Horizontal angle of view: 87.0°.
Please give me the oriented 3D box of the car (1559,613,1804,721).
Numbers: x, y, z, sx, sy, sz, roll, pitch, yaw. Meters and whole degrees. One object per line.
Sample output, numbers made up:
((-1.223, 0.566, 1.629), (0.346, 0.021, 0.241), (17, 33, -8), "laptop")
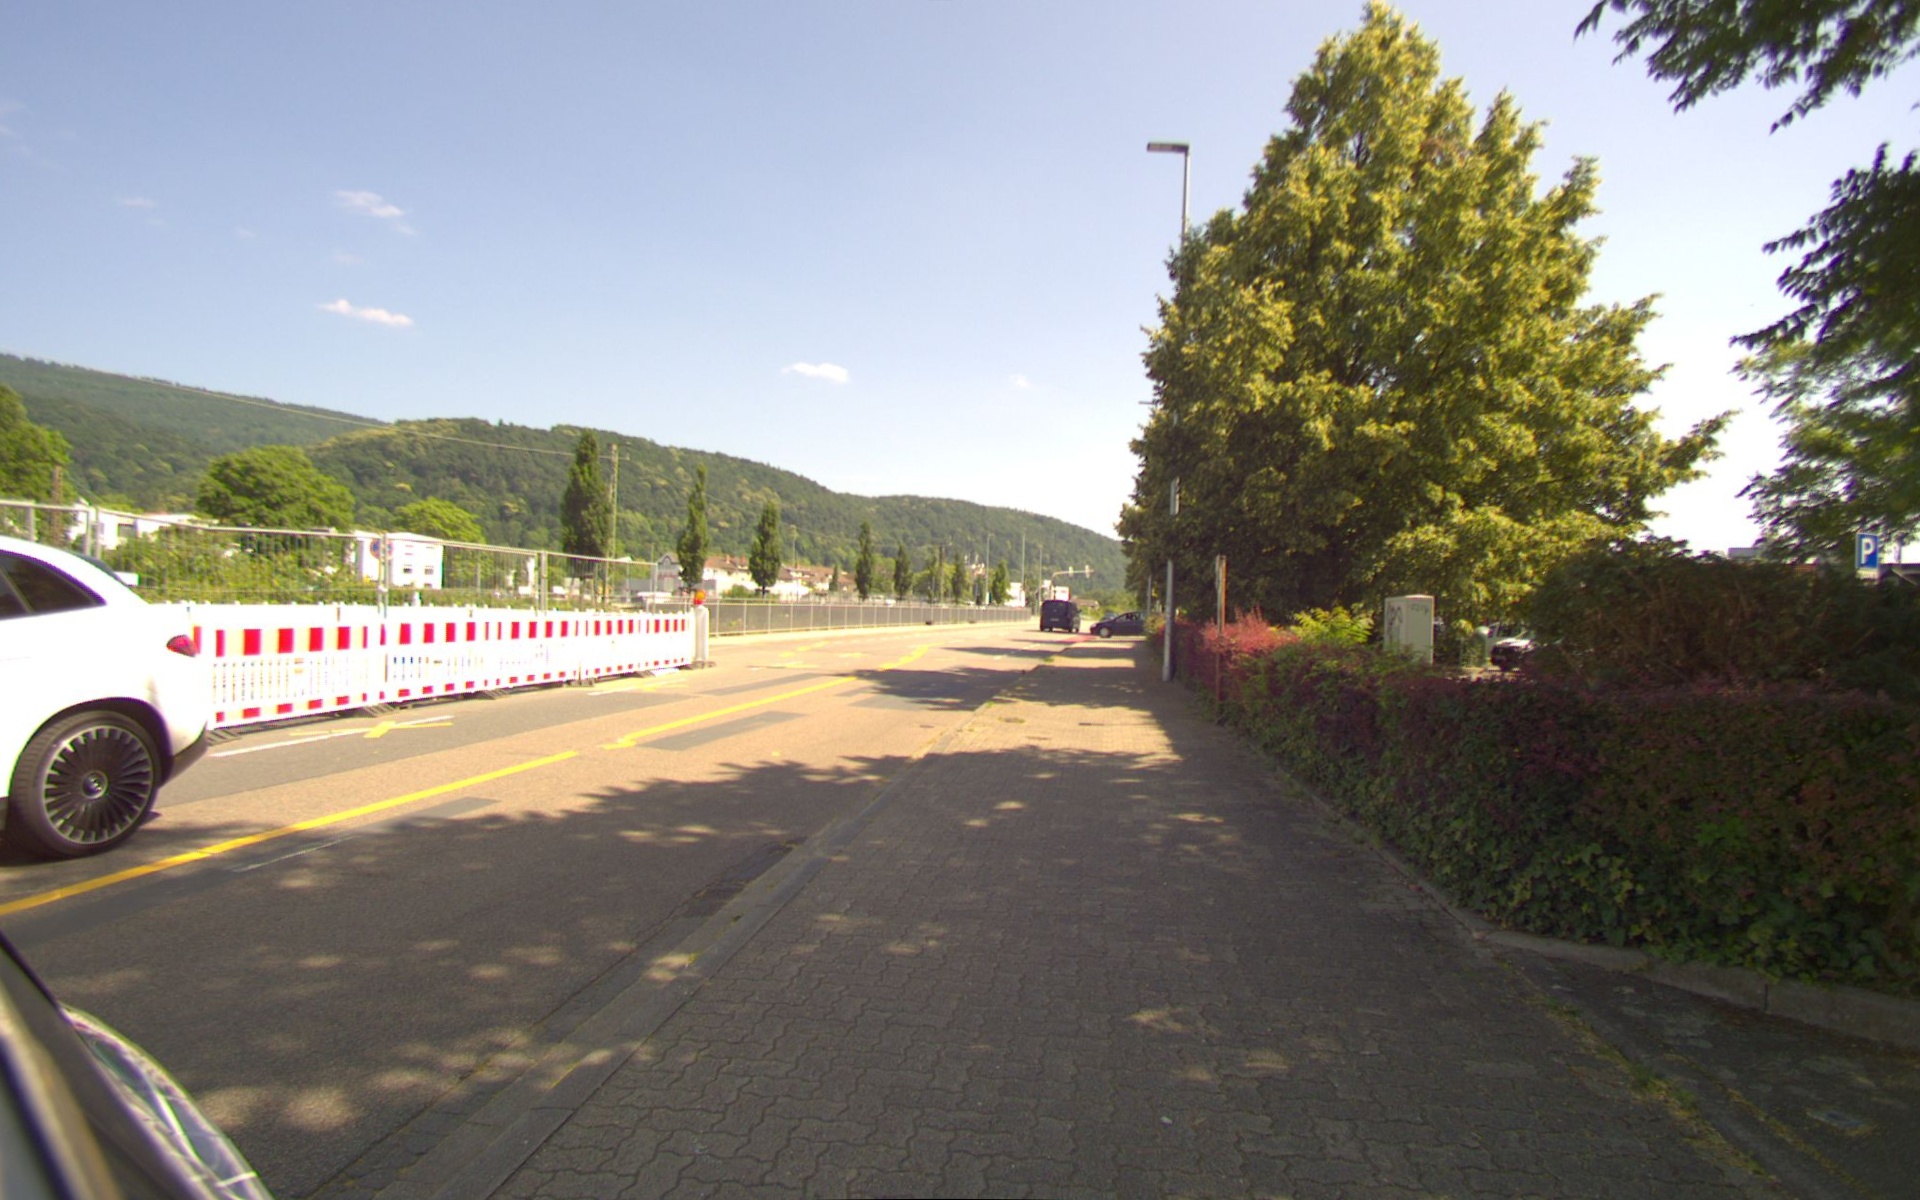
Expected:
((13.496, 1.151, 19.313), (1.840, 1.698, 4.358), (4, 0, 7), "car")

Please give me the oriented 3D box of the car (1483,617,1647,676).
((19.625, 1.494, 32.924), (4.245, 1.698, 1.865), (2, -1, -6), "car")

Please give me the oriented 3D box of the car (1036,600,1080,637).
((6.104, 1.115, 62.738), (2.160, 1.982, 5.427), (4, 0, 10), "car")

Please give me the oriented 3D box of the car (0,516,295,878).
((-5.472, 0.413, 3.963), (1.977, 1.657, 5.019), (1, 0, 8), "car")

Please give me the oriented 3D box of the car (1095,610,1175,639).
((9.068, 1.268, 52.425), (3.962, 1.475, 1.872), (-1, -1, 14), "car")

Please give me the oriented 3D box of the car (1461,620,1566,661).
((23.852, 1.727, 43.822), (1.891, 1.564, 4.148), (2, -1, -7), "car")

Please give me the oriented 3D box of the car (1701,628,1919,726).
((15.889, 1.339, 18.473), (1.840, 1.463, 4.358), (4, 0, 7), "car")
